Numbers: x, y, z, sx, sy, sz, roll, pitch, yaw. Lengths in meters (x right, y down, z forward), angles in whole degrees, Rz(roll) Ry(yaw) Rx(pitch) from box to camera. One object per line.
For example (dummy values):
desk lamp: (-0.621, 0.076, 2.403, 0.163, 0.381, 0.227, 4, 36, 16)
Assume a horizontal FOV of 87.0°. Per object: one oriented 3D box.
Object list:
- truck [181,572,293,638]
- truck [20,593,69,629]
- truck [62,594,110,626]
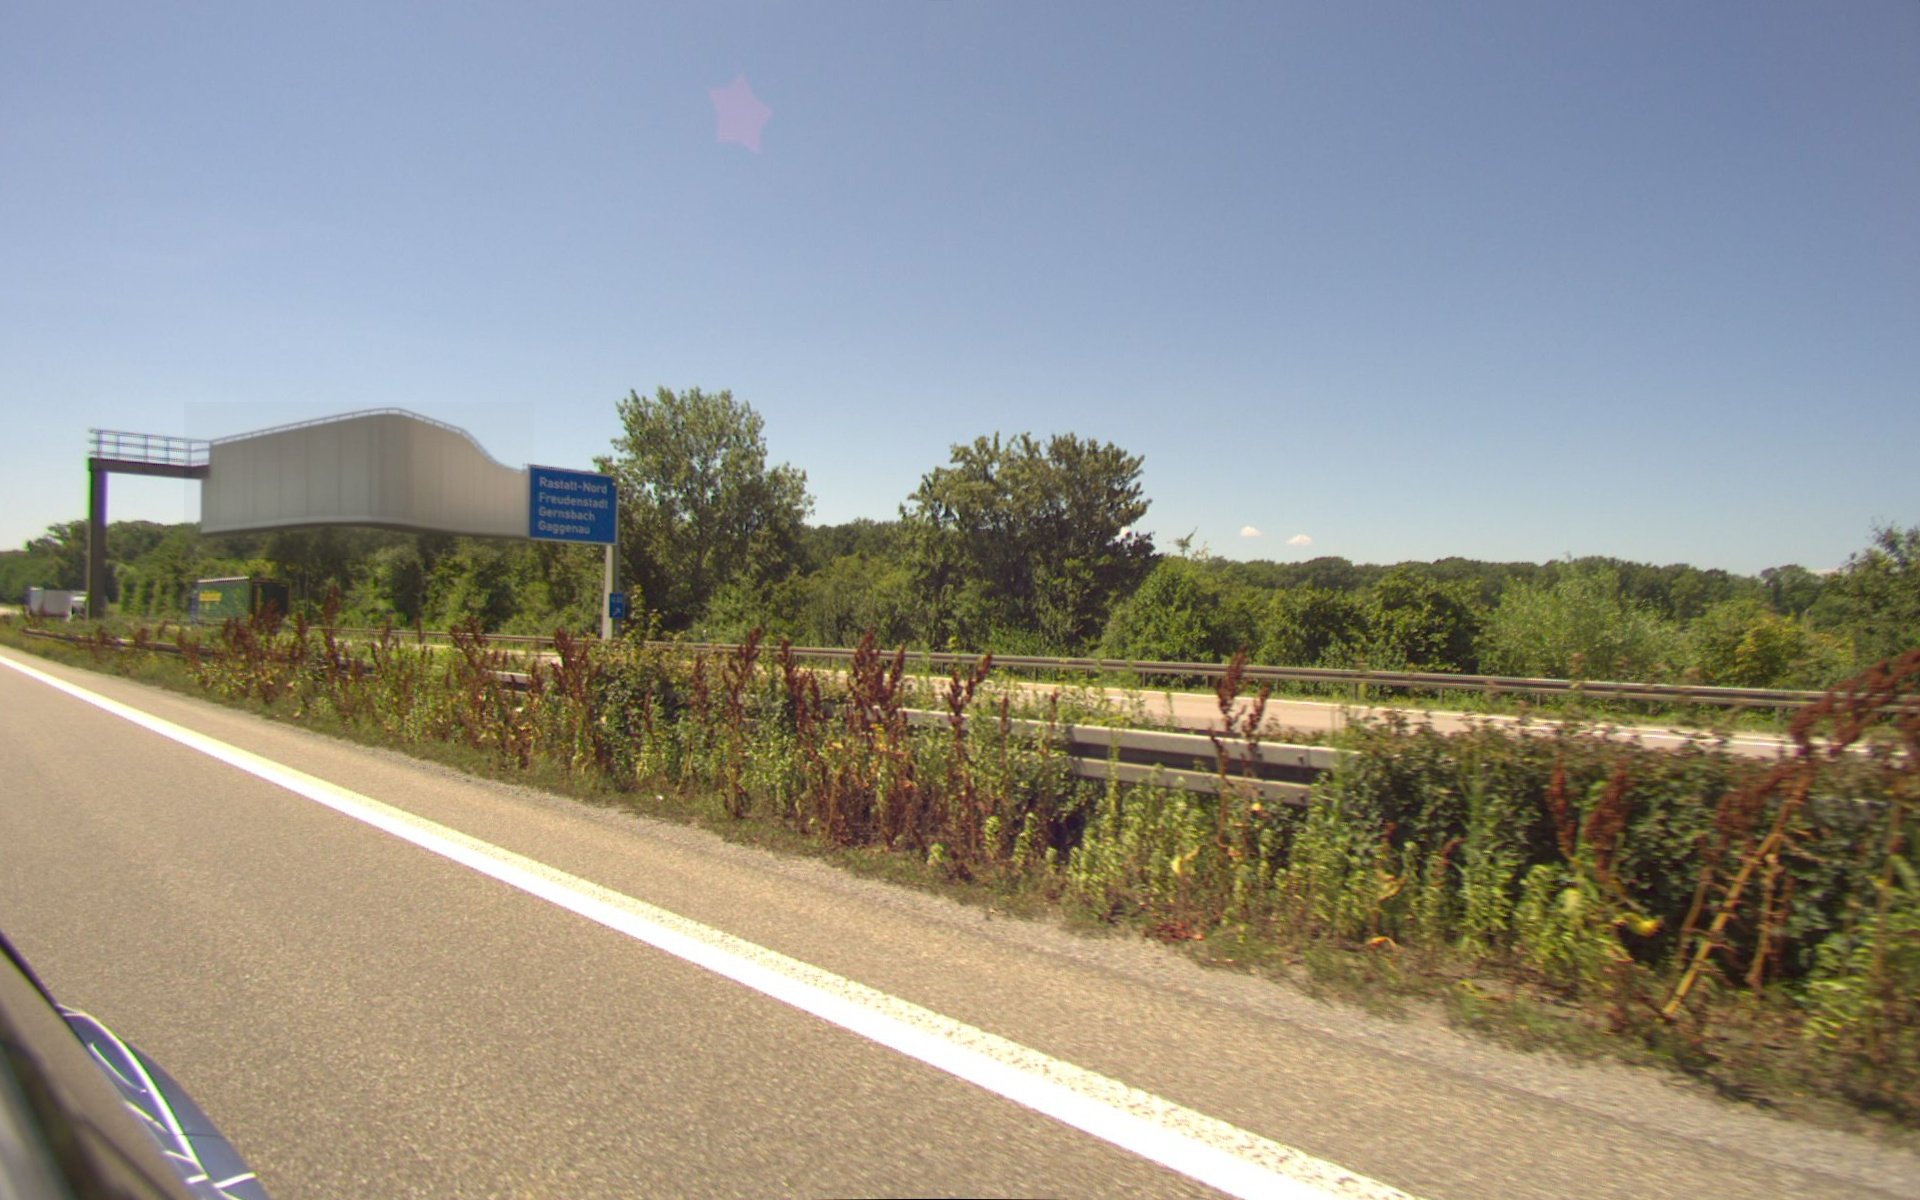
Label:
truck: (-53.251, 0.464, 74.188, 18.240, 4.375, 2.923, -1, -2, 43)
truck: (-114.755, 1.375, 126.665, 17.180, 4.278, 2.923, -1, -2, 43)
truck: (-113.638, 1.338, 131.448, 15.819, 4.049, 2.923, -1, -2, 43)
